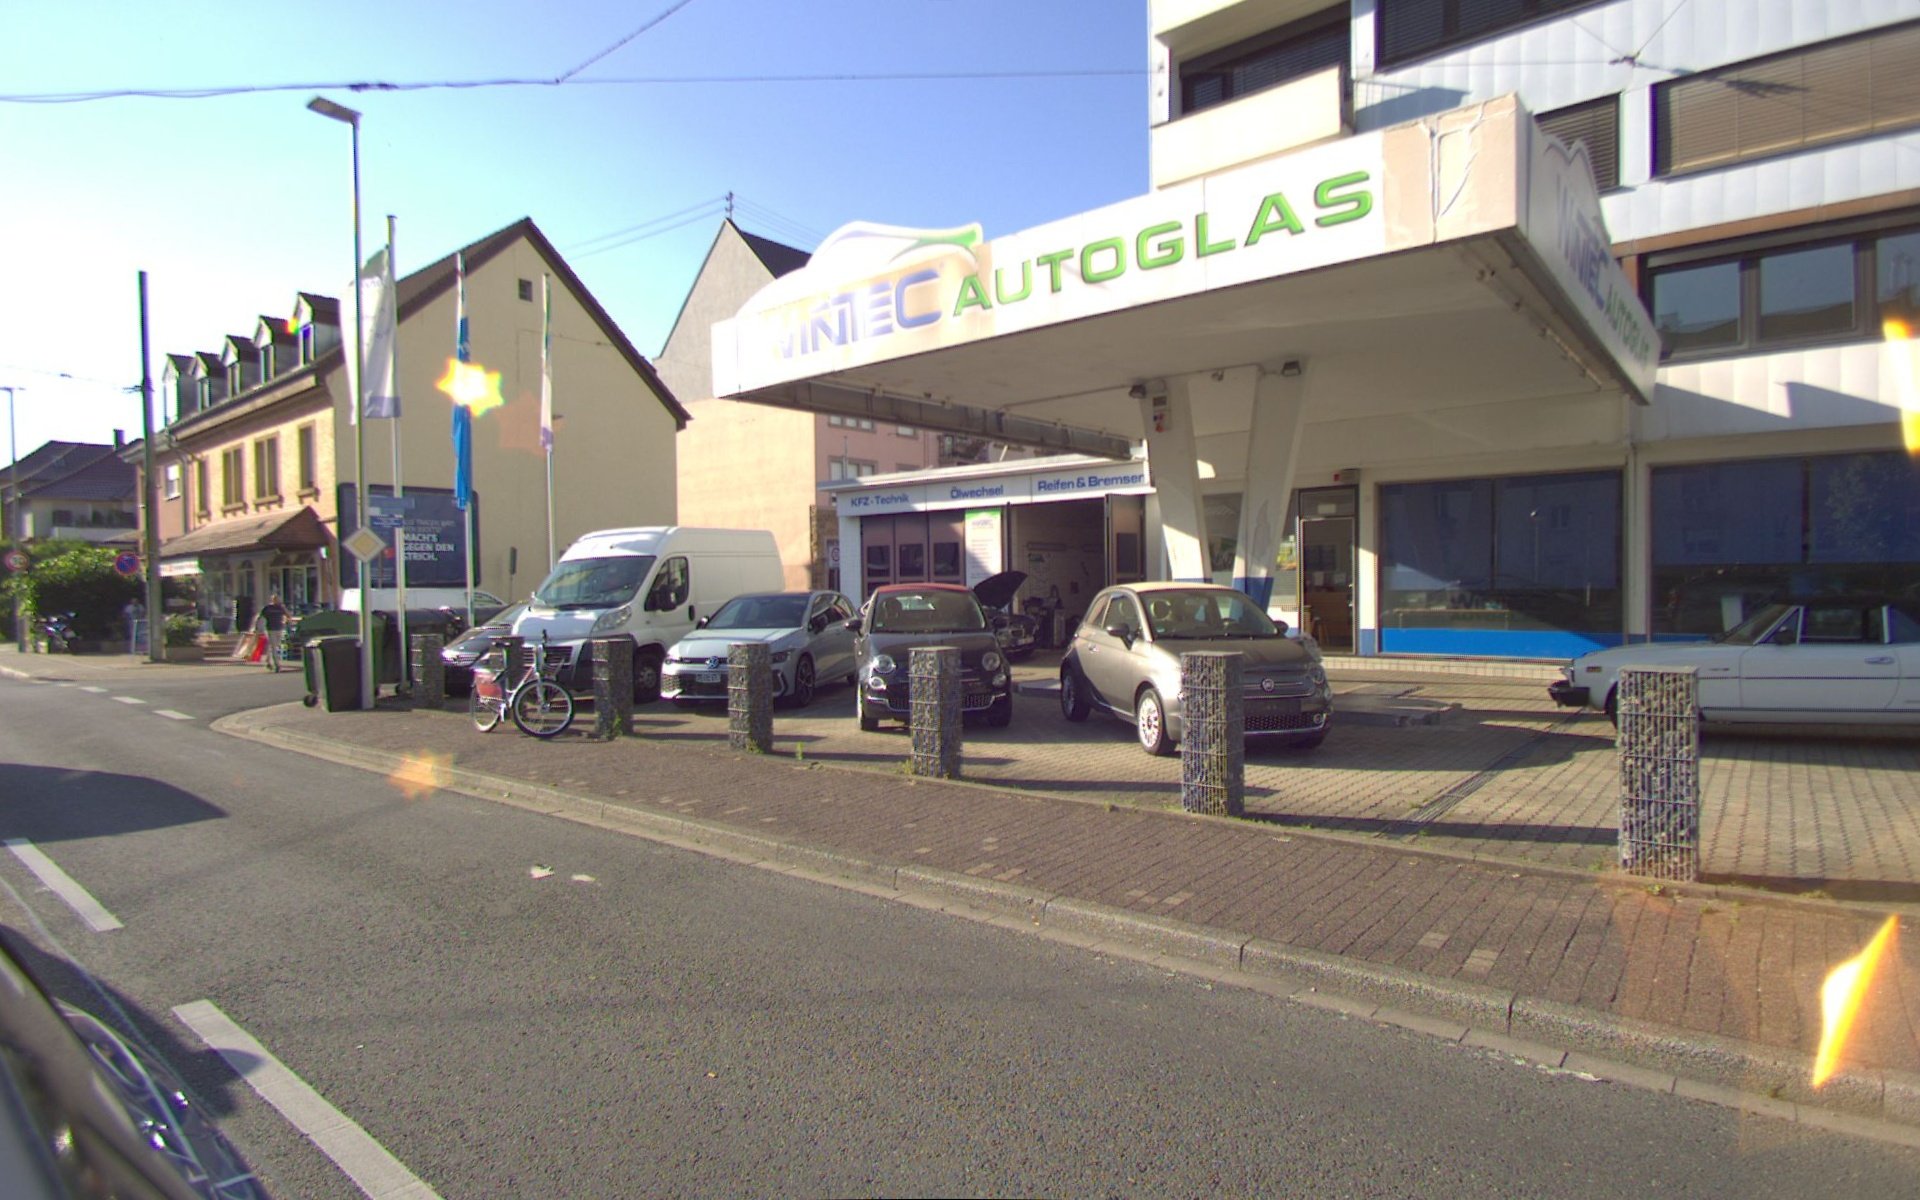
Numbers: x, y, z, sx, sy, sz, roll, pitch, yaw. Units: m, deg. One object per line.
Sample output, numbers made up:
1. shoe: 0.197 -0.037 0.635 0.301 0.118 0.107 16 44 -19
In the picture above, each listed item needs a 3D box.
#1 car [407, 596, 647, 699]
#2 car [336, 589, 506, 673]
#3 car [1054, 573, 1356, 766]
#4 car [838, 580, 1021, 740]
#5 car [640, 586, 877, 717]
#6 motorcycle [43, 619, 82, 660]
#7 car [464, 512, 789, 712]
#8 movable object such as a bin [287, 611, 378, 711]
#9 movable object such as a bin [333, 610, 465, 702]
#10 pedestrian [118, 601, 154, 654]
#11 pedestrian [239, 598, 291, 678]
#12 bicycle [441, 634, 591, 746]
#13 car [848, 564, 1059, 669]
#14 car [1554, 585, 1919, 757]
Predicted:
1. car: -7.070 0.707 17.009 1.725 1.488 4.016 -1 0 12
2. car: -13.901 0.743 26.252 1.449 2.029 3.628 -1 0 37
3. car: 2.146 0.538 9.794 1.517 1.497 3.381 -1 0 -11
4. car: -0.490 0.568 11.509 1.569 1.508 3.443 -1 0 -10
5. car: -2.539 0.591 13.805 1.725 1.508 4.016 -1 0 12
6. motorcycle: -27.975 1.209 31.529 2.186 1.226 0.699 -1 0 43
7. car: -4.695 0.135 15.224 2.098 2.472 4.963 -1 0 18
8. movable object such as a bin: -9.714 0.921 15.714 1.030 1.475 0.798 -1 0 -18
9. movable object such as a bin: -9.584 0.919 17.369 1.039 1.475 1.787 -1 0 15
10. pedestrian: -27.513 0.903 33.794 0.796 1.726 0.862 -1 0 -31
11. pedestrian: -16.541 0.891 24.092 0.766 1.866 0.812 -1 0 39
12. bicycle: -4.903 0.945 11.122 1.789 1.094 0.716 -1 1 37
13. car: -0.214 0.324 20.920 4.255 1.958 1.720 -1 0 40
14. car: 7.378 0.545 8.572 3.898 1.308 1.506 -1 -1 37
